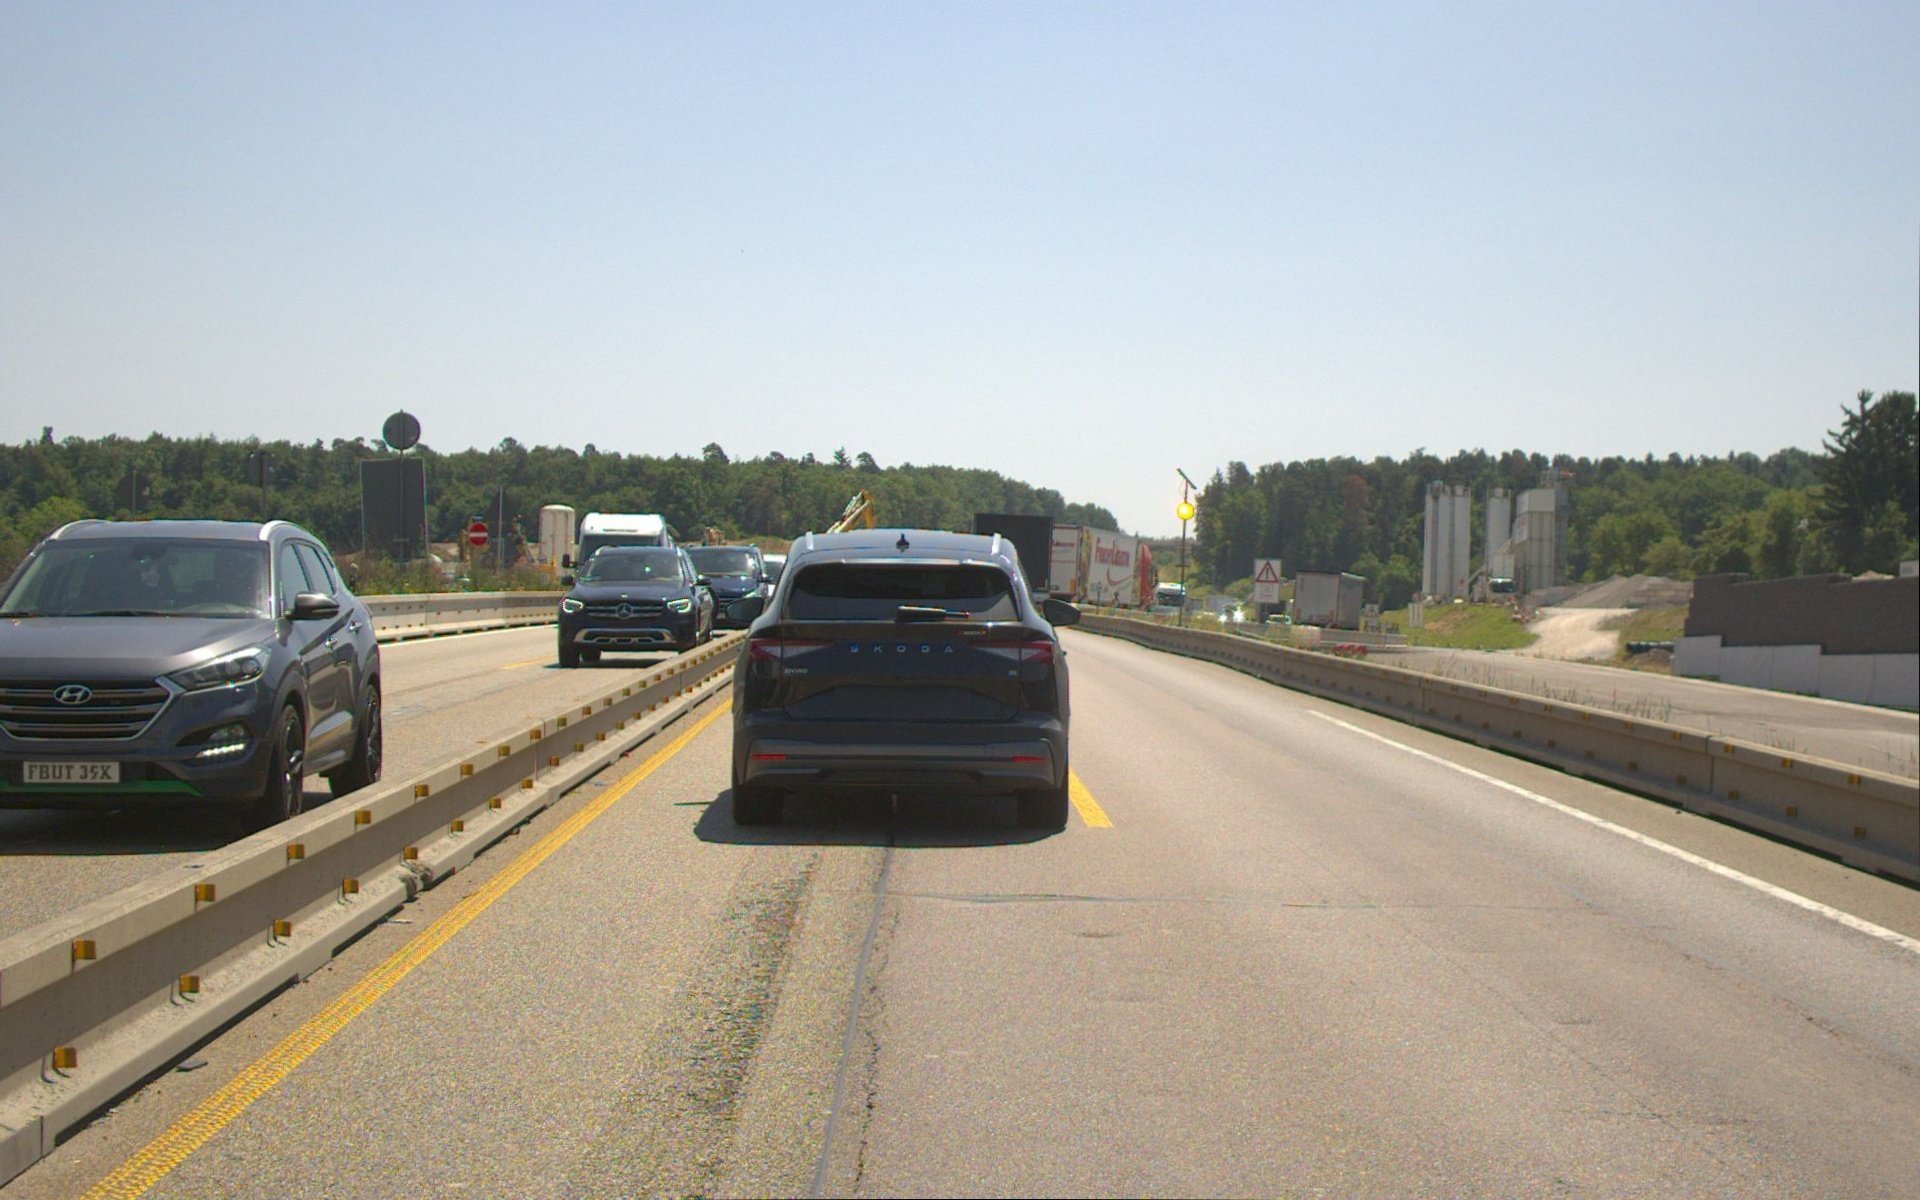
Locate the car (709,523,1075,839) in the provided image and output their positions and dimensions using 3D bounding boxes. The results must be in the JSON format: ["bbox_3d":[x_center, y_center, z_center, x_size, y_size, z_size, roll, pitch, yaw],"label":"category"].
[{"bbox_3d":[-0.339,0.382,19.615,1.842,1.576,4.000,1,1,0],"label":"car"}]

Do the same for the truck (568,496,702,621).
[{"bbox_3d":[-7.770,-0.977,83.042,2.480,2.814,8.129,1,0,0],"label":"truck"}]

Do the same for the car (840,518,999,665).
[{"bbox_3d":[-0.590,-0.123,47.145,1.993,1.837,4.000,3,0,-2],"label":"car"}]

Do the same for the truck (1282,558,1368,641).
[{"bbox_3d":[20.896,0.025,196.271,3.478,4.206,10.371,7,1,11],"label":"truck"}]

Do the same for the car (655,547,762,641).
[{"bbox_3d":[-5.160,-0.159,71.146,1.907,1.798,5.082,1,1,-1],"label":"car"}]

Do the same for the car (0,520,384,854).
[{"bbox_3d":[-4.354,0.387,18.832,1.938,1.605,4.001,1,1,-4],"label":"car"}]

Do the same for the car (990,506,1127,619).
[{"bbox_3d":[4.165,-1.479,142.426,3.439,4.087,9.190,6,0,14],"label":"car"}]

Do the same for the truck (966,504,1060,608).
[{"bbox_3d":[1.554,-1.330,102.255,2.673,2.935,5.620,1,1,0],"label":"truck"}]

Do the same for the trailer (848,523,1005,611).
[{"bbox_3d":[-1.532,-1.570,170.664,2.917,4.115,13.901,2,0,20],"label":"trailer"}]

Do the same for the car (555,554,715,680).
[{"bbox_3d":[-4.471,0.191,47.873,1.855,1.598,4.736,1,1,-1],"label":"car"}]

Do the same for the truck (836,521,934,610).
[{"bbox_3d":[-3.561,-1.603,164.994,2.916,4.115,6.134,2,0,16],"label":"truck"}]
